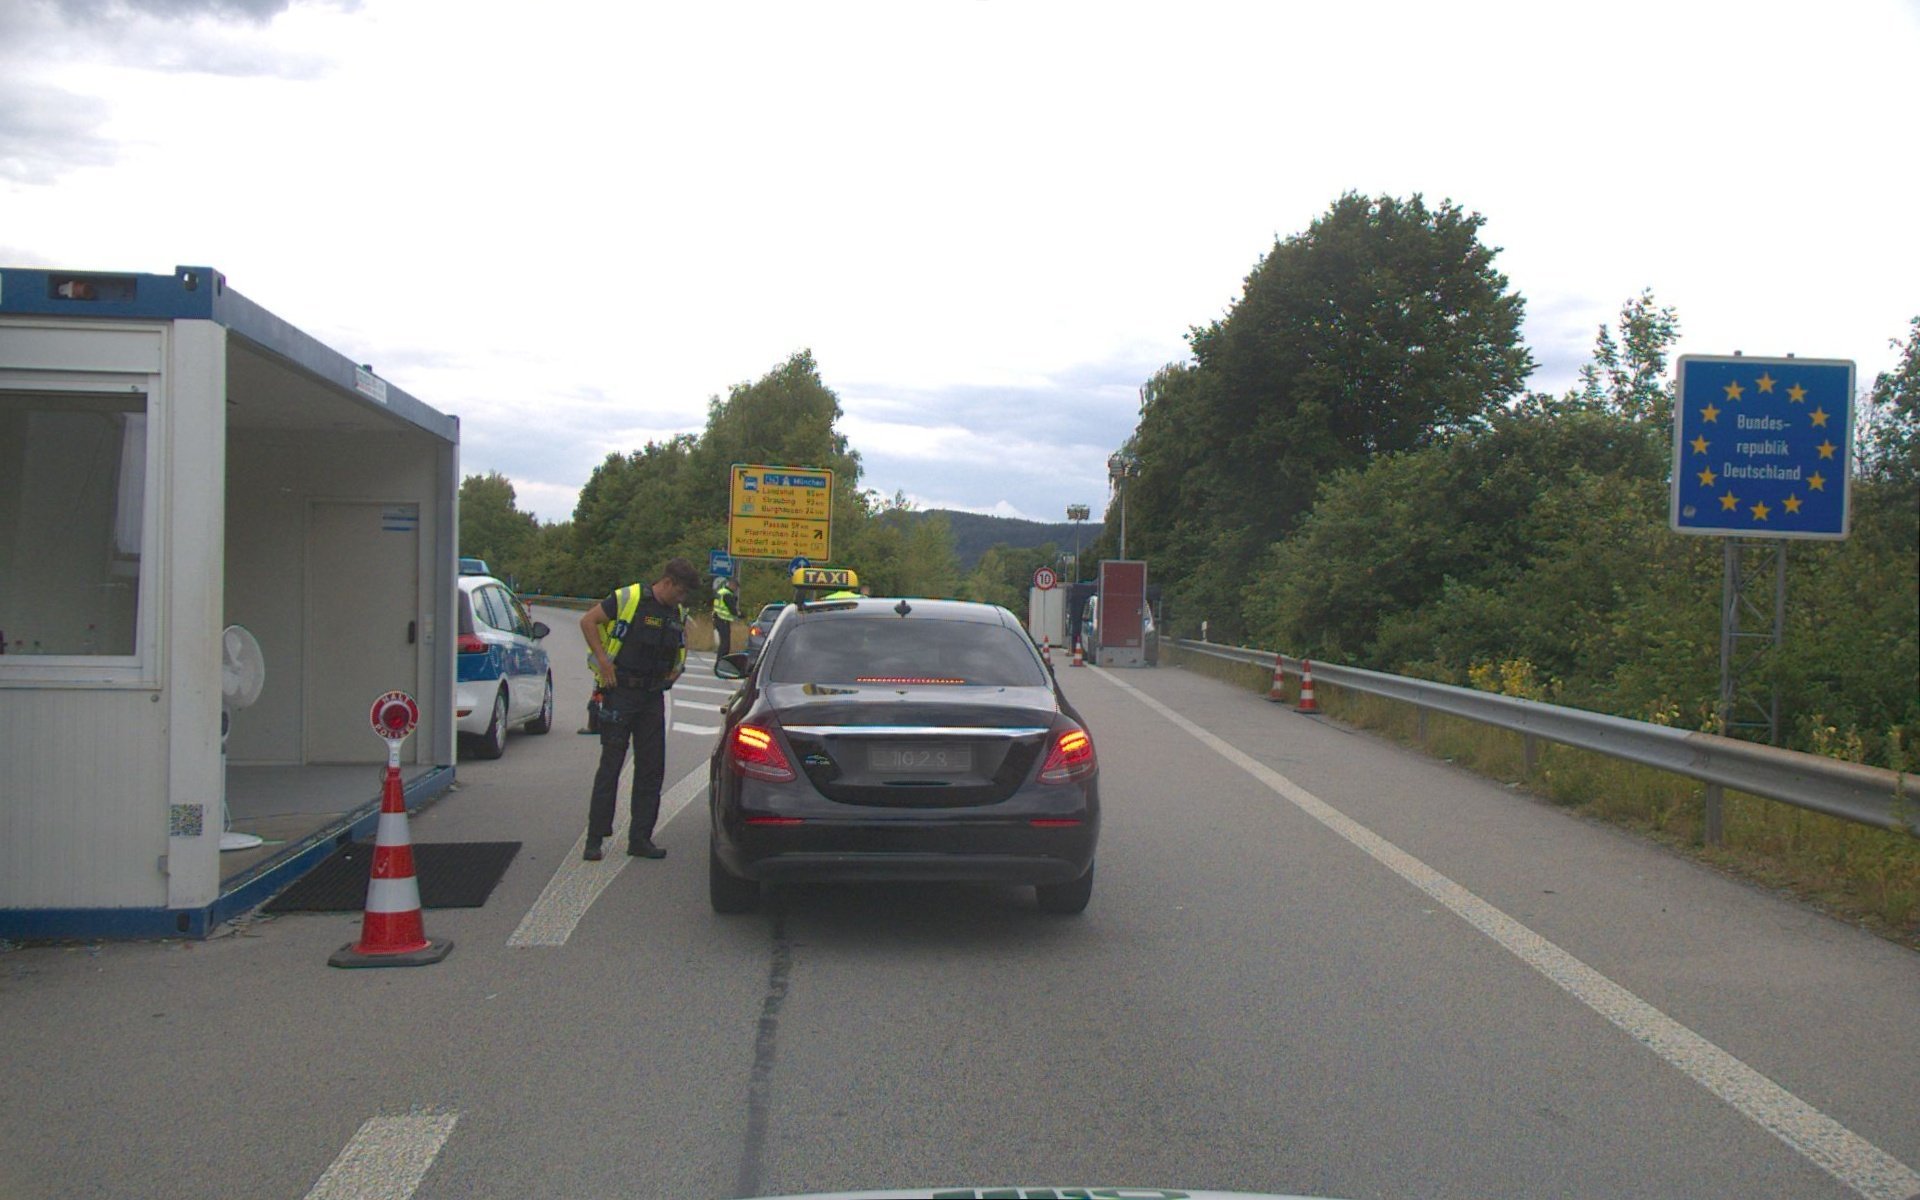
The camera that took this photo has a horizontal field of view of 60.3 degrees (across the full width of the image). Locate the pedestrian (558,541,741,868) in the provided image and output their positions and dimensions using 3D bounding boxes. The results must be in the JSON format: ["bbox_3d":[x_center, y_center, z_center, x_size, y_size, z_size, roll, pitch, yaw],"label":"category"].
[{"bbox_3d":[-1.766,0.558,9.374,0.754,1.748,0.808,1,0,-35],"label":"pedestrian"}]

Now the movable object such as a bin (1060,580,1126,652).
[{"bbox_3d":[4.446,0.514,55.748,1.952,2.320,4.168,1,0,1],"label":"movable object such as a bin"}]

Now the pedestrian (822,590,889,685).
[{"bbox_3d":[-1.963,0.694,31.019,0.900,1.727,0.903,1,-1,-33],"label":"pedestrian"}]

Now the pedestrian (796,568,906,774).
[{"bbox_3d":[-1.009,0.639,15.488,0.795,1.862,0.810,0,0,15],"label":"pedestrian"}]

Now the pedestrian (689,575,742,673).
[{"bbox_3d":[-4.616,0.446,31.307,0.893,1.800,0.911,1,0,-4],"label":"pedestrian"}]

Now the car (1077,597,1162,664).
[{"bbox_3d":[4.452,0.824,46.904,1.877,1.707,5.083,3,0,0],"label":"car"}]

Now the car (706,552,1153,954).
[{"bbox_3d":[-0.324,0.624,8.955,1.819,1.623,4.370,1,0,-6],"label":"car"}]

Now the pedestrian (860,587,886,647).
[{"bbox_3d":[-2.883,0.567,55.106,0.650,1.995,0.760,0,0,15],"label":"pedestrian"}]

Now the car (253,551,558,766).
[{"bbox_3d":[-5.105,0.490,15.802,1.832,1.774,4.004,1,0,-5],"label":"car"}]

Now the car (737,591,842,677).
[{"bbox_3d":[-3.206,0.600,31.742,1.819,1.524,4.253,1,0,-4],"label":"car"}]
